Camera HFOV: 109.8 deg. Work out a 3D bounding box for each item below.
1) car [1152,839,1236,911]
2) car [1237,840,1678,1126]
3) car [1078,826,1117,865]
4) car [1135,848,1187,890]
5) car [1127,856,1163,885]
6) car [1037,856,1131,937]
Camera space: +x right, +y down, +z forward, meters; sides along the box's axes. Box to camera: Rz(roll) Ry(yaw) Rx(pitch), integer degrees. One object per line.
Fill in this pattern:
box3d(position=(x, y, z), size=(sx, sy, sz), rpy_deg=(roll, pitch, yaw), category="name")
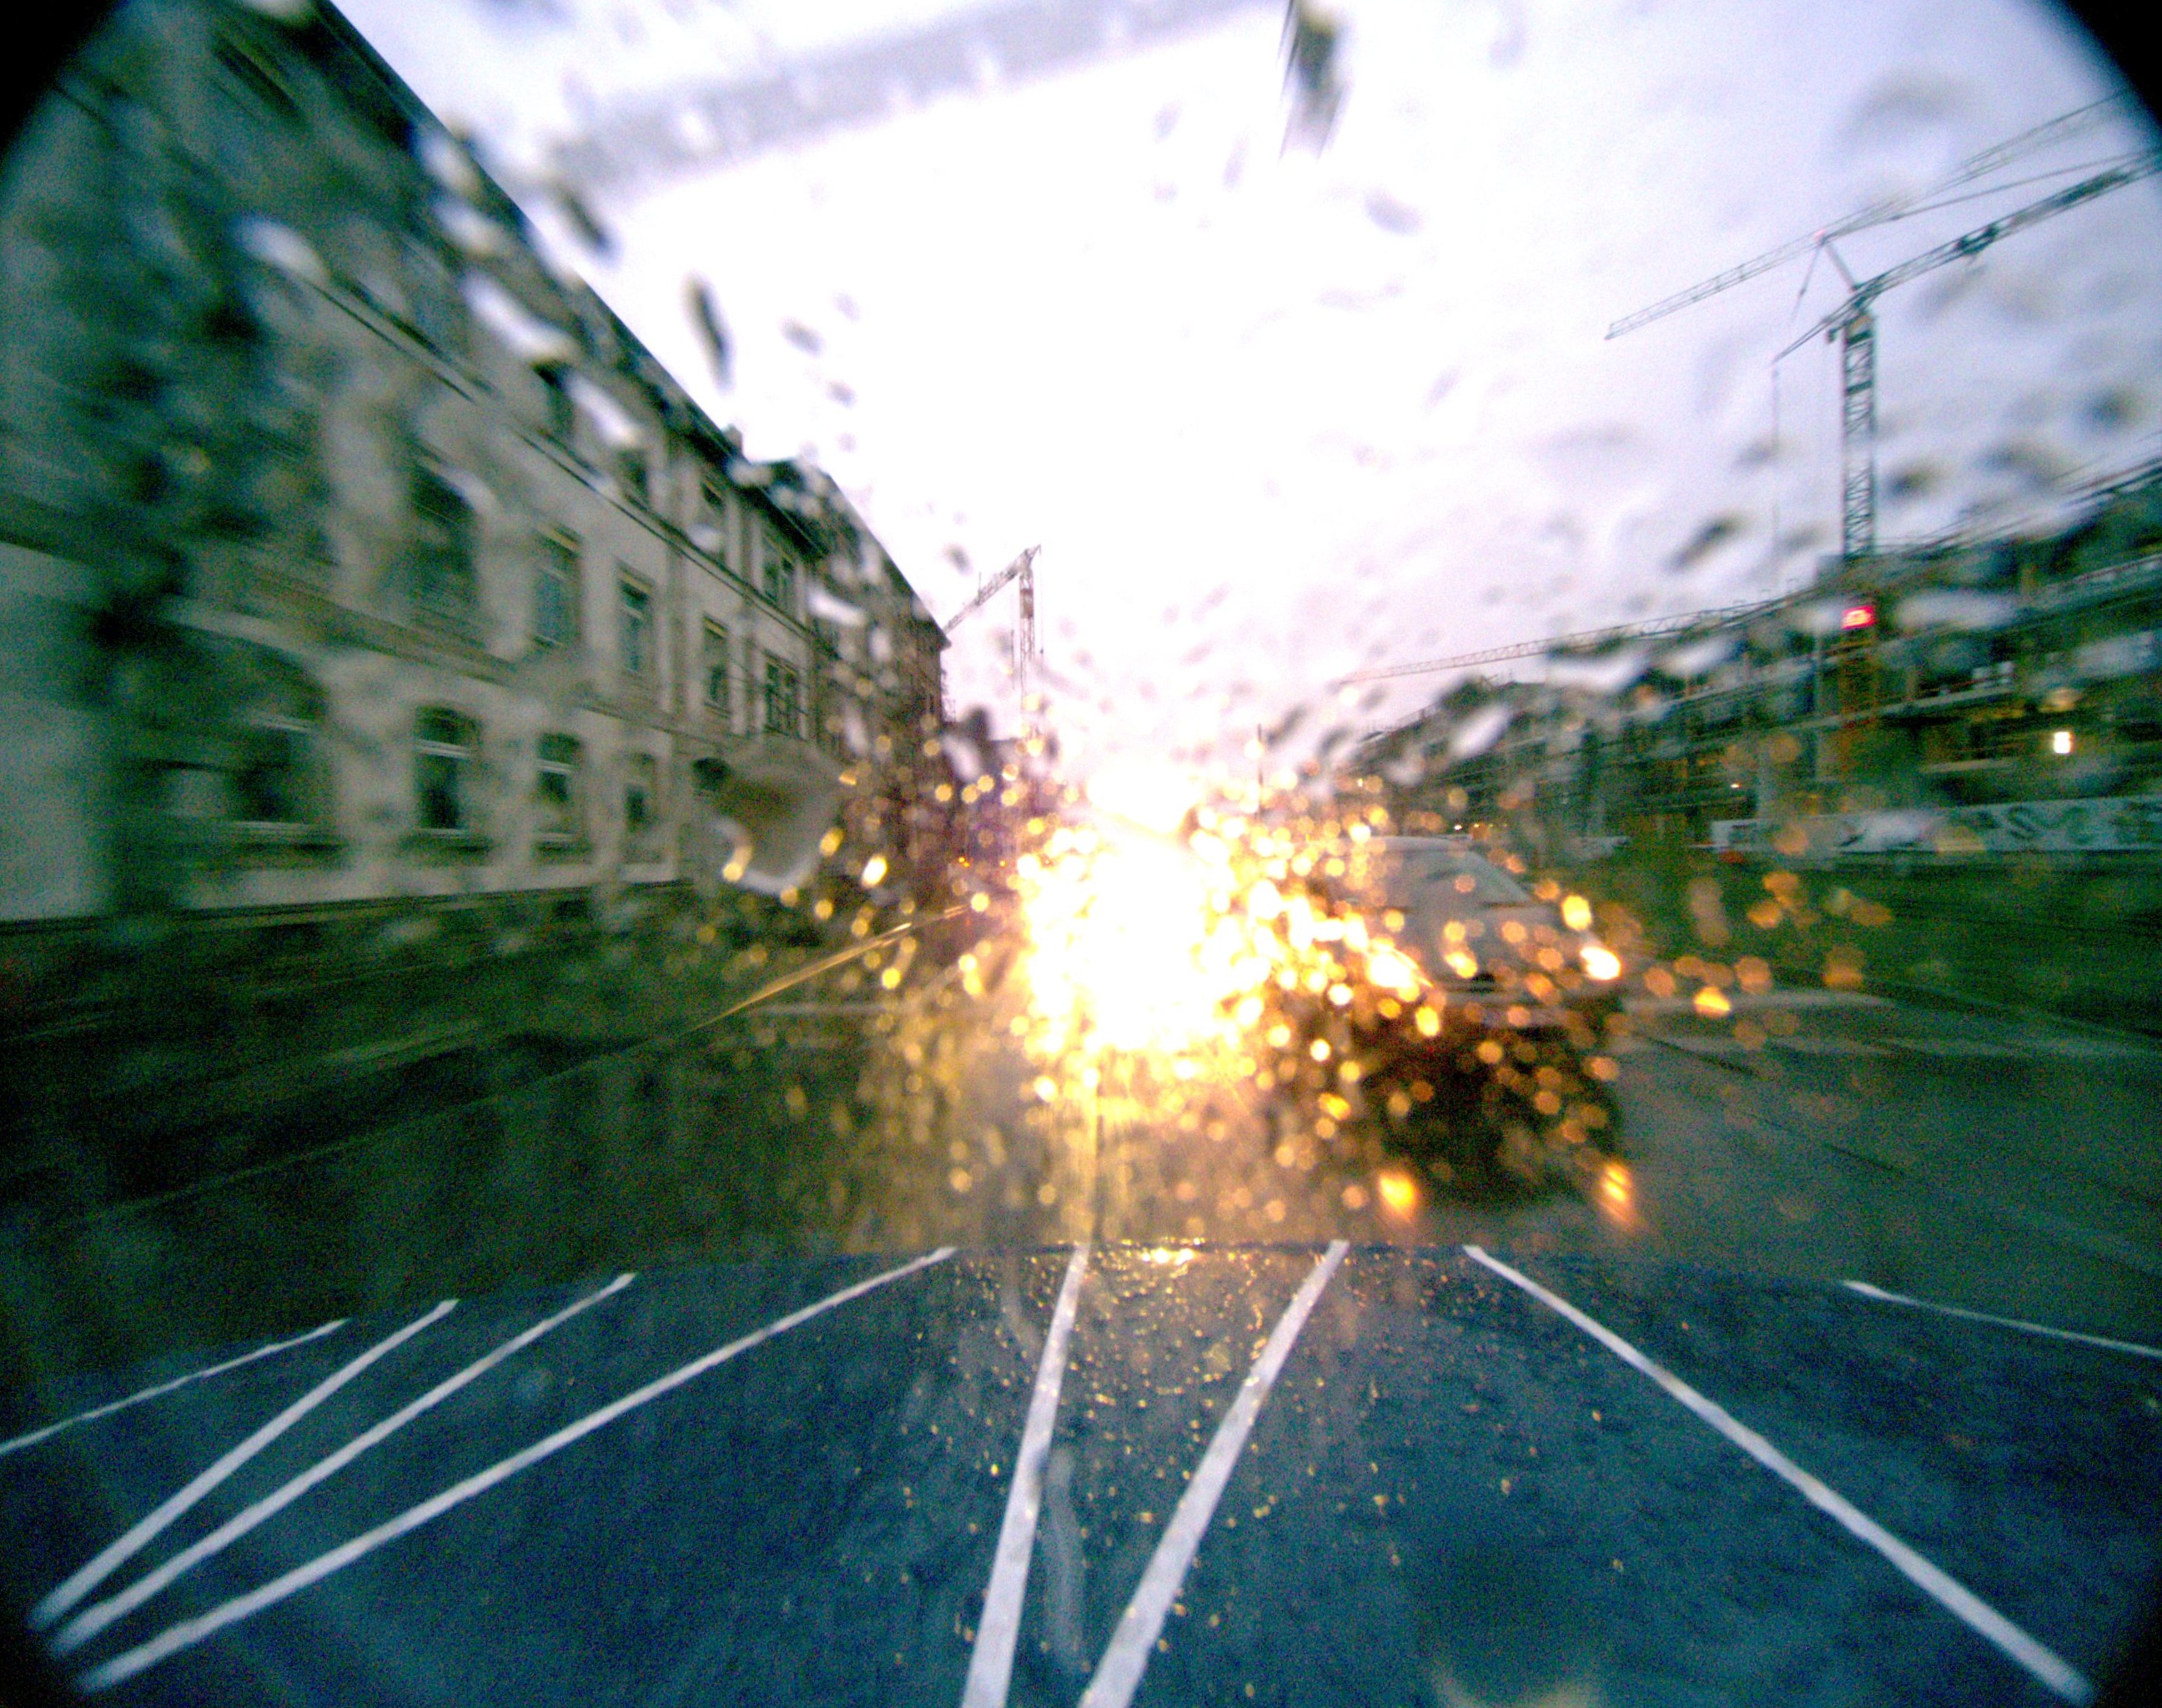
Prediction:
box3d(position=(3.050, 0.511, 21.313), size=(1.857, 1.723, 4.000), rpy_deg=(-3, 1, 3), category="car")
box3d(position=(2.591, 0.729, 6.398), size=(1.764, 1.584, 4.000), rpy_deg=(-3, 1, 2), category="car")
box3d(position=(0.824, -0.439, 40.256), size=(1.858, 1.886, 3.999), rpy_deg=(-3, 1, 0), category="car")
box3d(position=(3.526, 0.622, 34.066), size=(1.844, 1.644, 4.323), rpy_deg=(-3, 1, 0), category="car")
box3d(position=(3.825, 0.941, 46.156), size=(1.844, 1.547, 4.000), rpy_deg=(-3, 1, 1), category="car")
box3d(position=(0.047, 0.839, 16.930), size=(1.764, 1.443, 3.999), rpy_deg=(-3, 1, 0), category="car")
